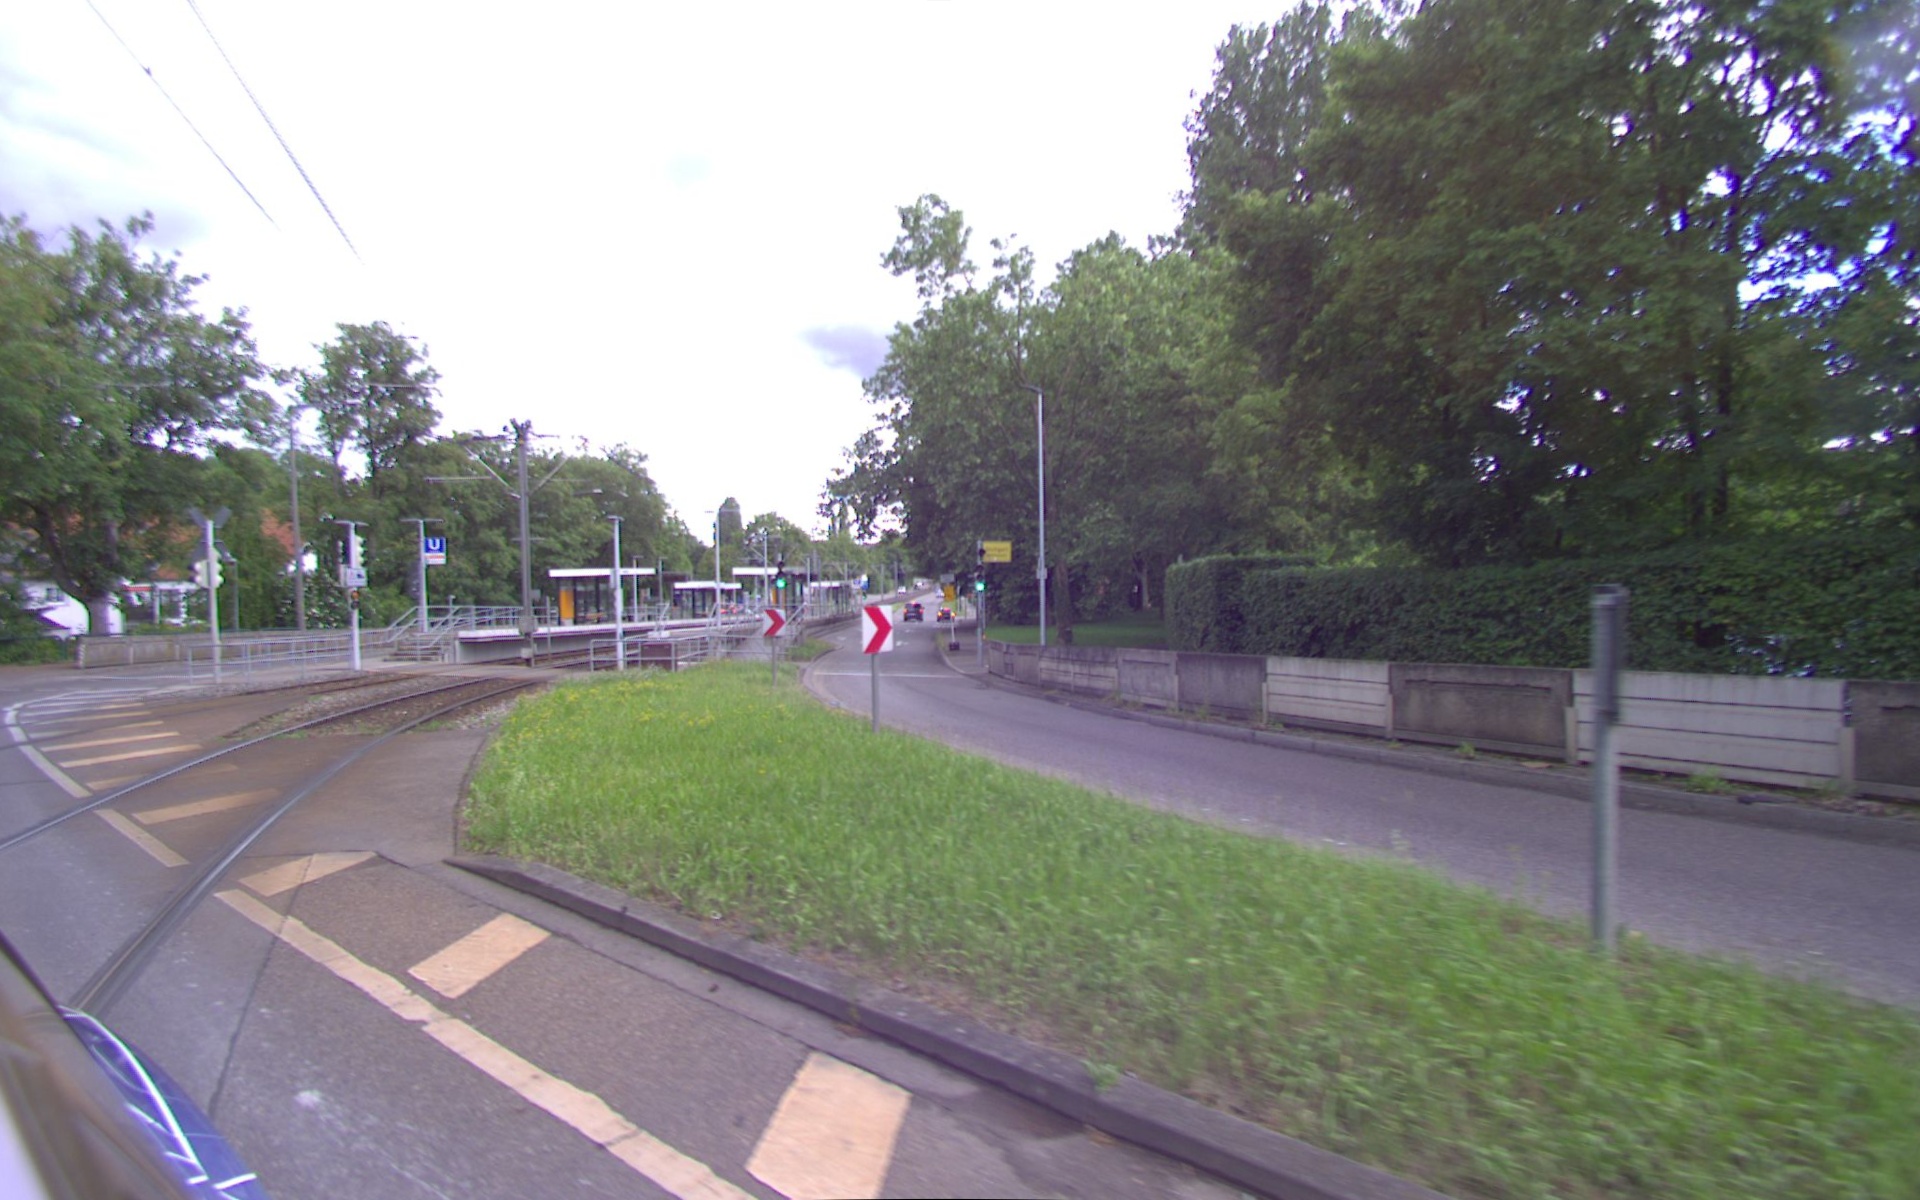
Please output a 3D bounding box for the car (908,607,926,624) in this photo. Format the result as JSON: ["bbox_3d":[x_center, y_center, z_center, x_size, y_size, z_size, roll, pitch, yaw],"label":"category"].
[{"bbox_3d":[-4.444,1.593,104.917,1.747,1.712,3.794,0,0,0],"label":"car"}]

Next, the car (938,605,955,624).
[{"bbox_3d":[-1.338,1.499,104.369,1.718,1.853,3.799,0,0,0],"label":"car"}]
